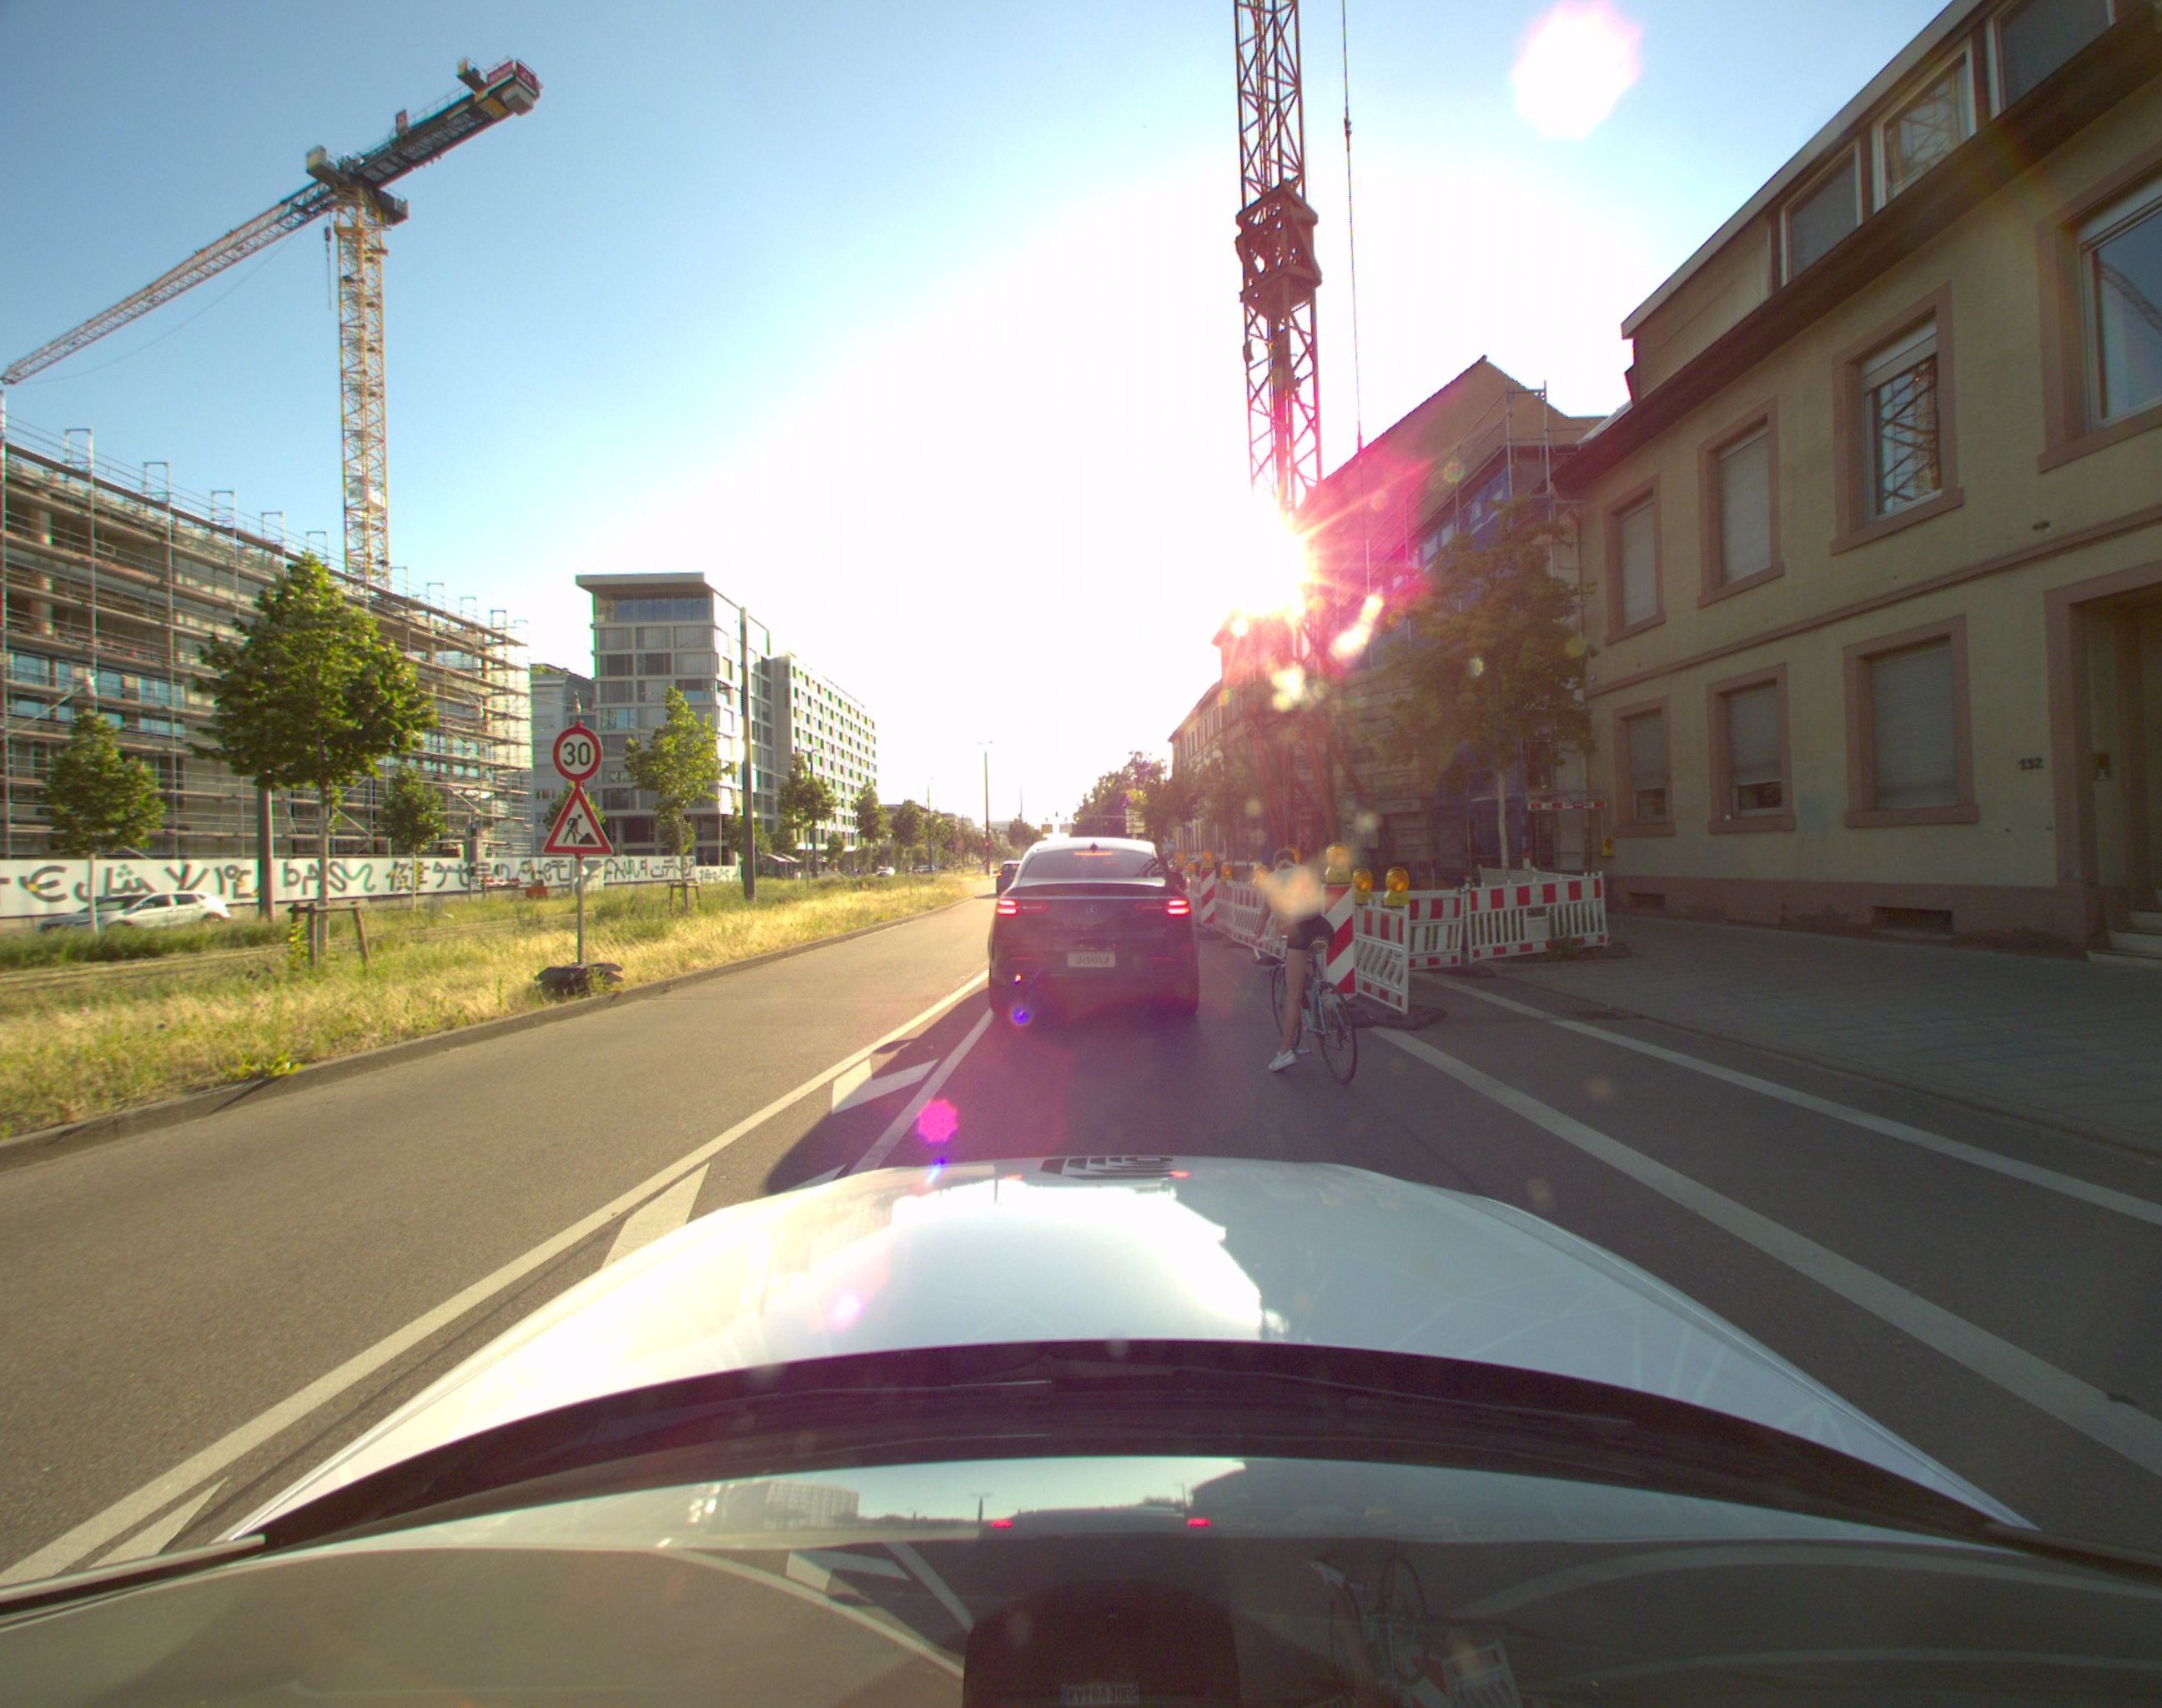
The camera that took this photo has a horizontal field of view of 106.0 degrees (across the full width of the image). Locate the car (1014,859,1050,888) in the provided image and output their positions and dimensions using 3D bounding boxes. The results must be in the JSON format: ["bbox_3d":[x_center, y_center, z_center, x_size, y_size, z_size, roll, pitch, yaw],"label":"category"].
[{"bbox_3d":[-2.538,0.989,42.920,1.703,1.442,3.581,0,-1,0],"label":"car"}]

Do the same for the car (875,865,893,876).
[{"bbox_3d":[-28.095,2.376,116.408,1.703,1.442,3.581,0,-1,0],"label":"car"}]

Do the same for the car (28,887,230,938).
[{"bbox_3d":[-30.097,1.799,25.968,1.522,1.310,4.094,-1,0,2],"label":"car"}]

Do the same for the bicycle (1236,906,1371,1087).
[{"bbox_3d":[1.586,0.962,6.065,0.511,1.052,1.724,0,-1,-1],"label":"bicycle"}]

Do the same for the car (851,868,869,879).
[{"bbox_3d":[-32.173,2.805,118.553,1.703,1.442,3.581,0,-1,0],"label":"car"}]

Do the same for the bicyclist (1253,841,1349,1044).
[{"bbox_3d":[1.592,0.615,5.959,0.521,1.395,0.614,0,-1,-1],"label":"bicyclist"}]

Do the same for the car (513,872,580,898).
[{"bbox_3d":[-32.426,1.871,49.490,1.703,1.442,3.581,0,-1,0],"label":"car"}]

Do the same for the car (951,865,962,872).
[{"bbox_3d":[-25.443,2.895,166.978,1.703,1.442,3.581,0,-1,0],"label":"car"}]

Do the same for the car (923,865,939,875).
[{"bbox_3d":[-22.039,2.362,120.019,1.703,1.442,3.581,0,-1,0],"label":"car"}]

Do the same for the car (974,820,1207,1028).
[{"bbox_3d":[0.143,0.618,8.984,1.986,1.772,4.001,0,-1,2],"label":"car"}]

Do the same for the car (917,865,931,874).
[{"bbox_3d":[-27.390,2.709,141.969,1.703,1.442,3.581,0,-1,0],"label":"car"}]

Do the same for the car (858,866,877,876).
[{"bbox_3d":[-30.639,2.399,117.054,1.703,1.442,3.581,0,-1,0],"label":"car"}]

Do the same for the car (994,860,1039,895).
[{"bbox_3d":[-2.768,0.986,35.551,1.703,1.442,3.581,0,-1,0],"label":"car"}]
